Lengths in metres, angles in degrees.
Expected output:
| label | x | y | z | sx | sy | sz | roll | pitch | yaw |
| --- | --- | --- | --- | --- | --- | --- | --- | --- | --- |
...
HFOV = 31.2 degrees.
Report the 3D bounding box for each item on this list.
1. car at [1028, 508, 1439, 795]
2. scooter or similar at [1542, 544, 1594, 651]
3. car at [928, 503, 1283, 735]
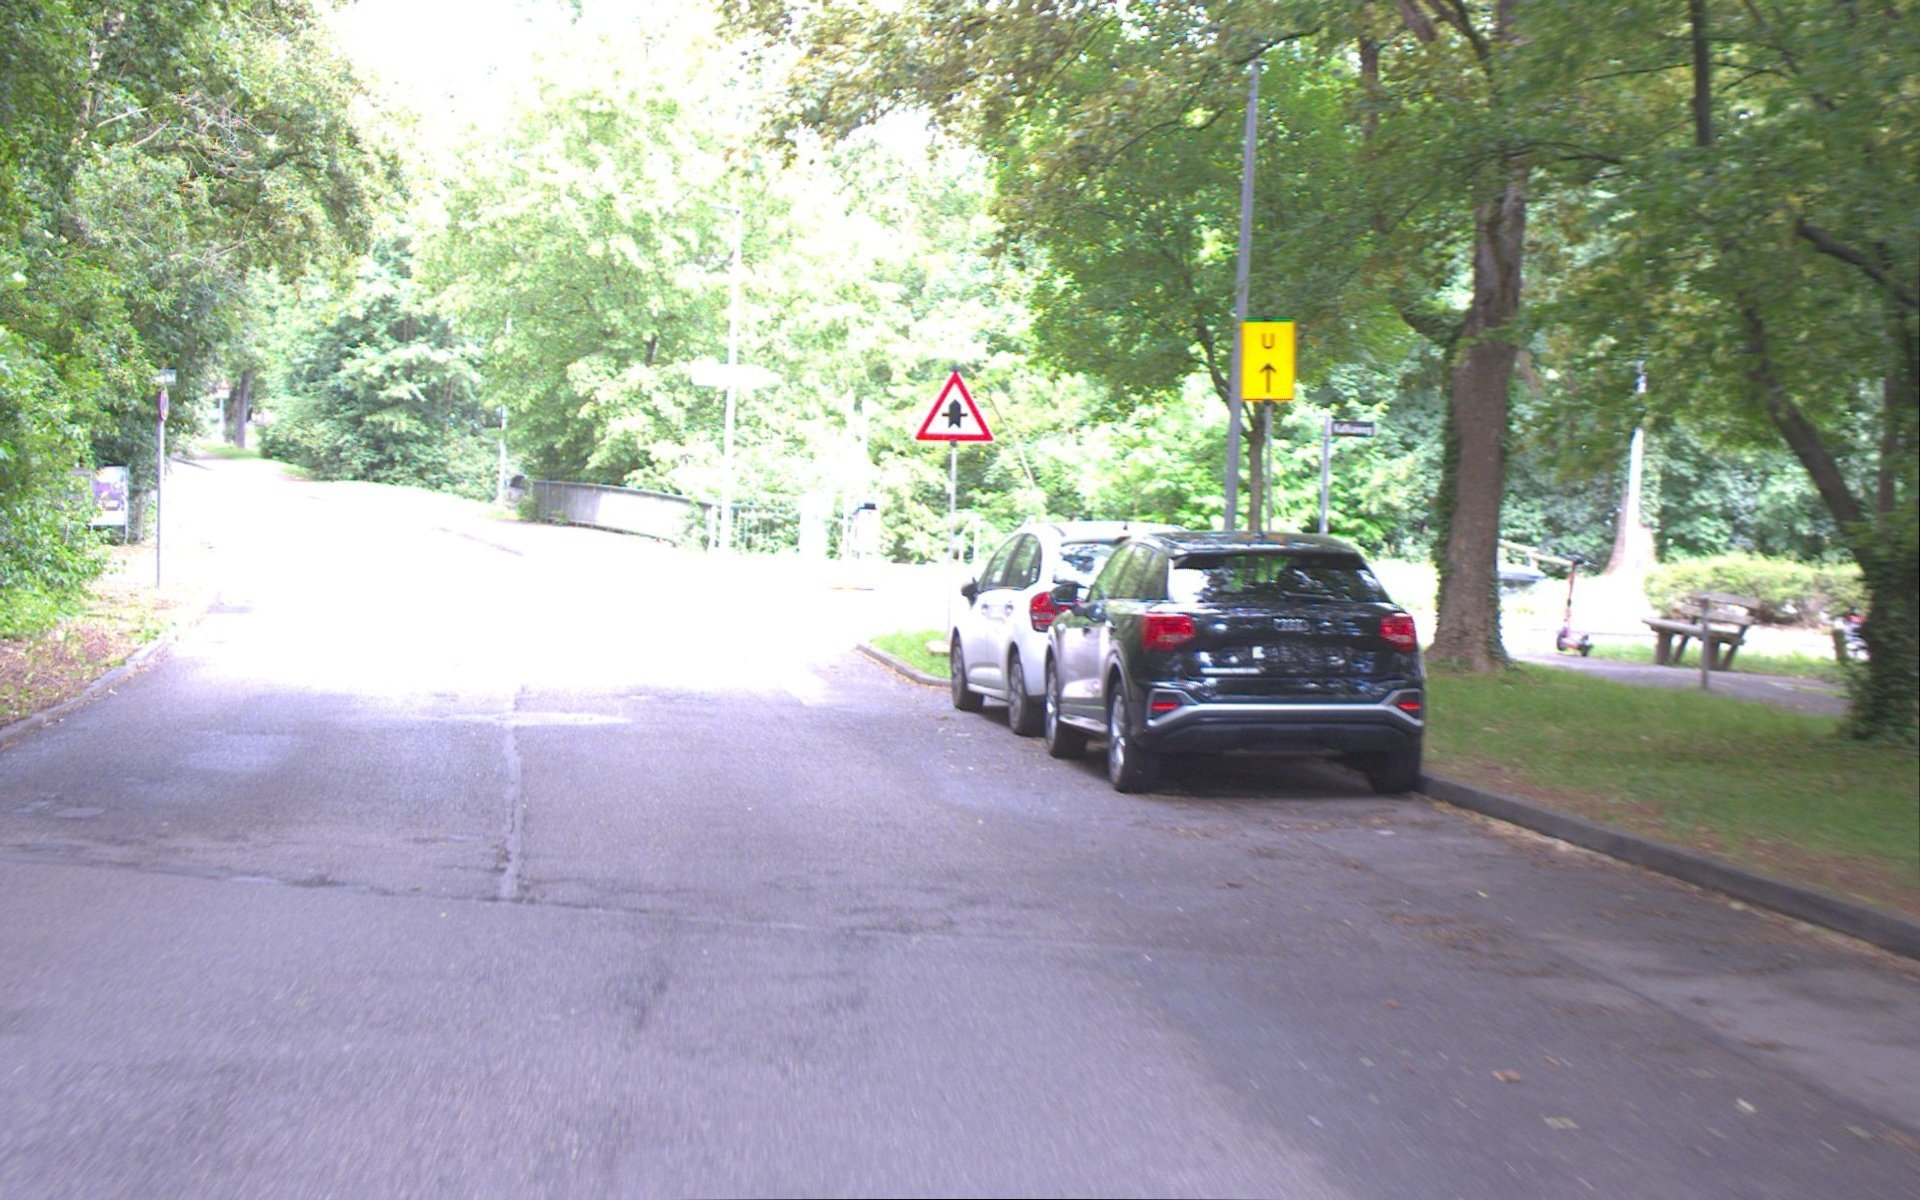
| label | x | y | z | sx | sy | sz | roll | pitch | yaw |
| --- | --- | --- | --- | --- | --- | --- | --- | --- | --- |
| car | 1.569 | 0.235 | 21.272 | 1.773 | 1.517 | 4.184 | 2 | 2 | -6 |
| scooter or similar | 7.564 | -0.039 | 42.786 | 0.283 | 1.282 | 1.108 | 2 | 2 | -5 |
| car | 0.995 | 0.086 | 25.652 | 1.773 | 1.517 | 3.782 | 2 | 2 | -11 |
